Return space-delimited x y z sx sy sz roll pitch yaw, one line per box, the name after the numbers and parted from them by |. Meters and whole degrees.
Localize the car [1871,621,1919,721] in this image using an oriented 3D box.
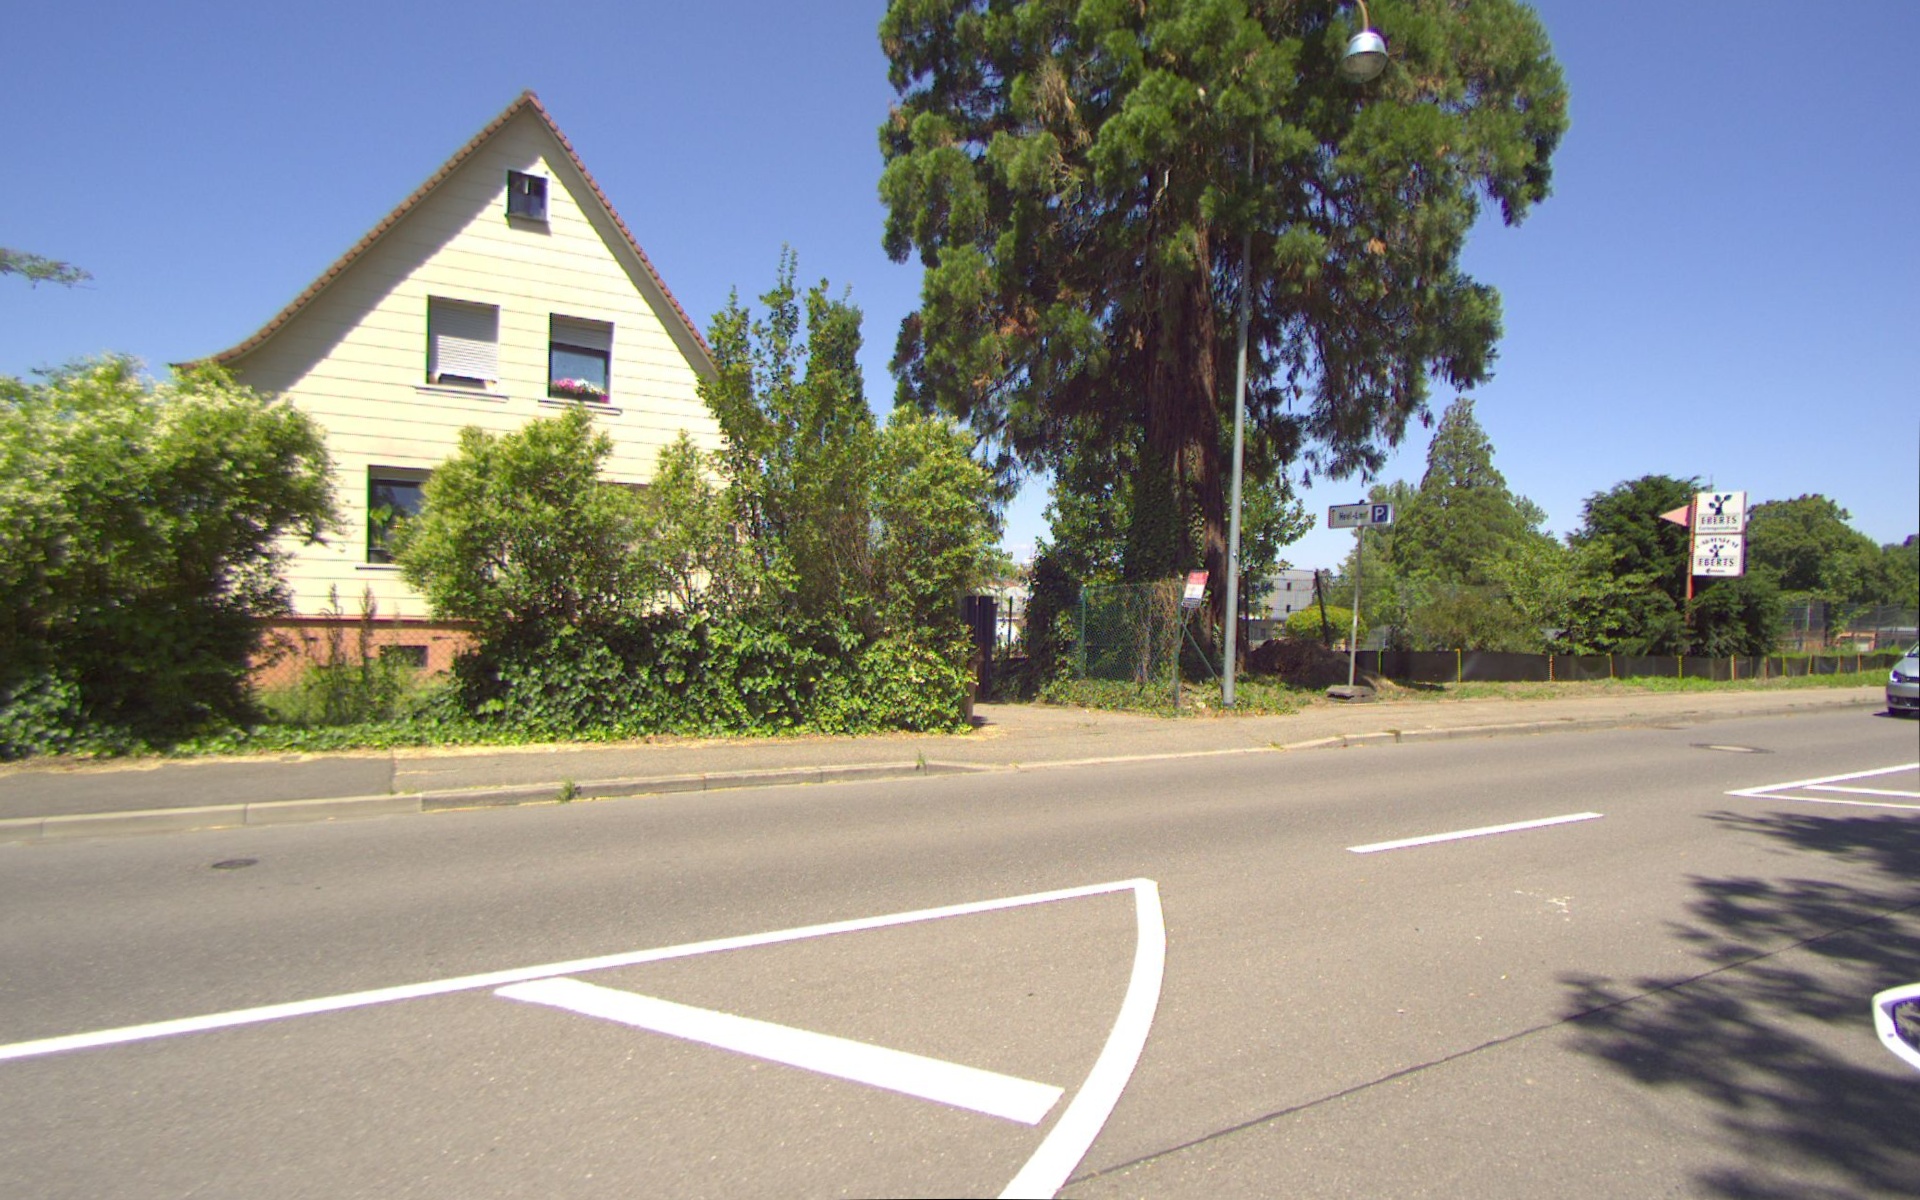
18.163 1.242 17.842 4.637 1.666 1.773 2 -1 -32 | car
